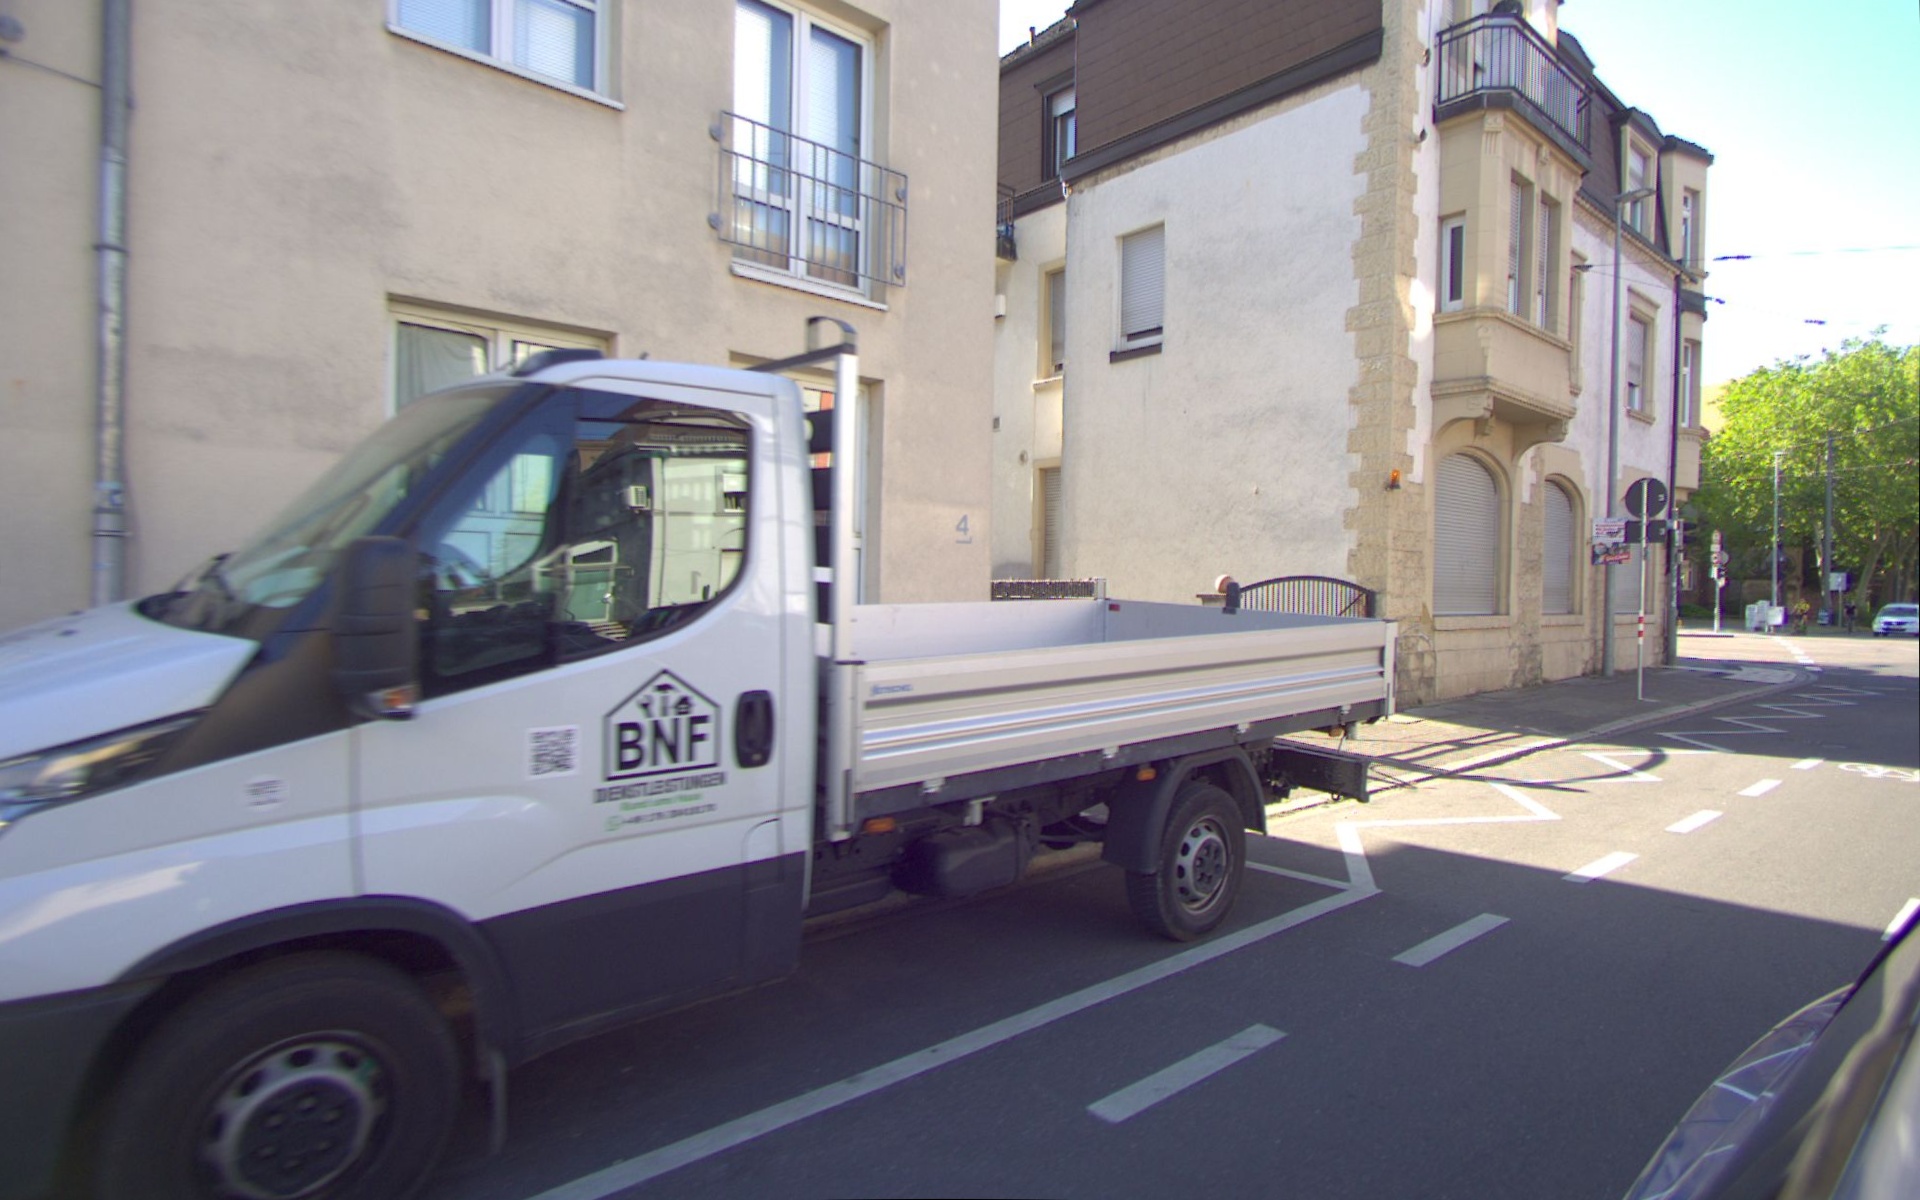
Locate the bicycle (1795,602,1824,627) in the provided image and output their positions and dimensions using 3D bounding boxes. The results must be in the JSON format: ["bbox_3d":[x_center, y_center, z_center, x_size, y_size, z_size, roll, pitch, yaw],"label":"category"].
[{"bbox_3d":[39.810,0.687,47.430,2.062,1.047,0.690,3,-1,-41],"label":"bicycle"}]

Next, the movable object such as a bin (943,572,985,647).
[{"bbox_3d":[0.076,0.166,19.094,0.517,1.384,0.573,1,1,-41],"label":"movable object such as a bin"}]

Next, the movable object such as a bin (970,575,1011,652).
[{"bbox_3d":[0.560,0.234,18.522,0.517,1.384,0.533,1,1,-41],"label":"movable object such as a bin"}]

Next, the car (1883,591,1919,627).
[{"bbox_3d":[46.087,0.454,48.736,4.491,1.639,1.910,1,0,-41],"label":"car"}]

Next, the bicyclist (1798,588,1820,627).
[{"bbox_3d":[39.735,0.343,47.360,0.611,1.751,0.669,4,-1,-41],"label":"bicyclist"}]

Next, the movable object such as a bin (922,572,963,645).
[{"bbox_3d":[-0.341,0.153,19.568,0.517,1.384,0.573,1,1,-41],"label":"movable object such as a bin"}]

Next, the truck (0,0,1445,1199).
[{"bbox_3d":[-0.501,0.145,4.258,6.037,2.508,2.300,0,1,-40],"label":"truck"}]

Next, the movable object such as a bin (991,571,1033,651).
[{"bbox_3d":[0.926,0.194,18.076,0.524,1.398,0.522,1,1,-41],"label":"movable object such as a bin"}]
